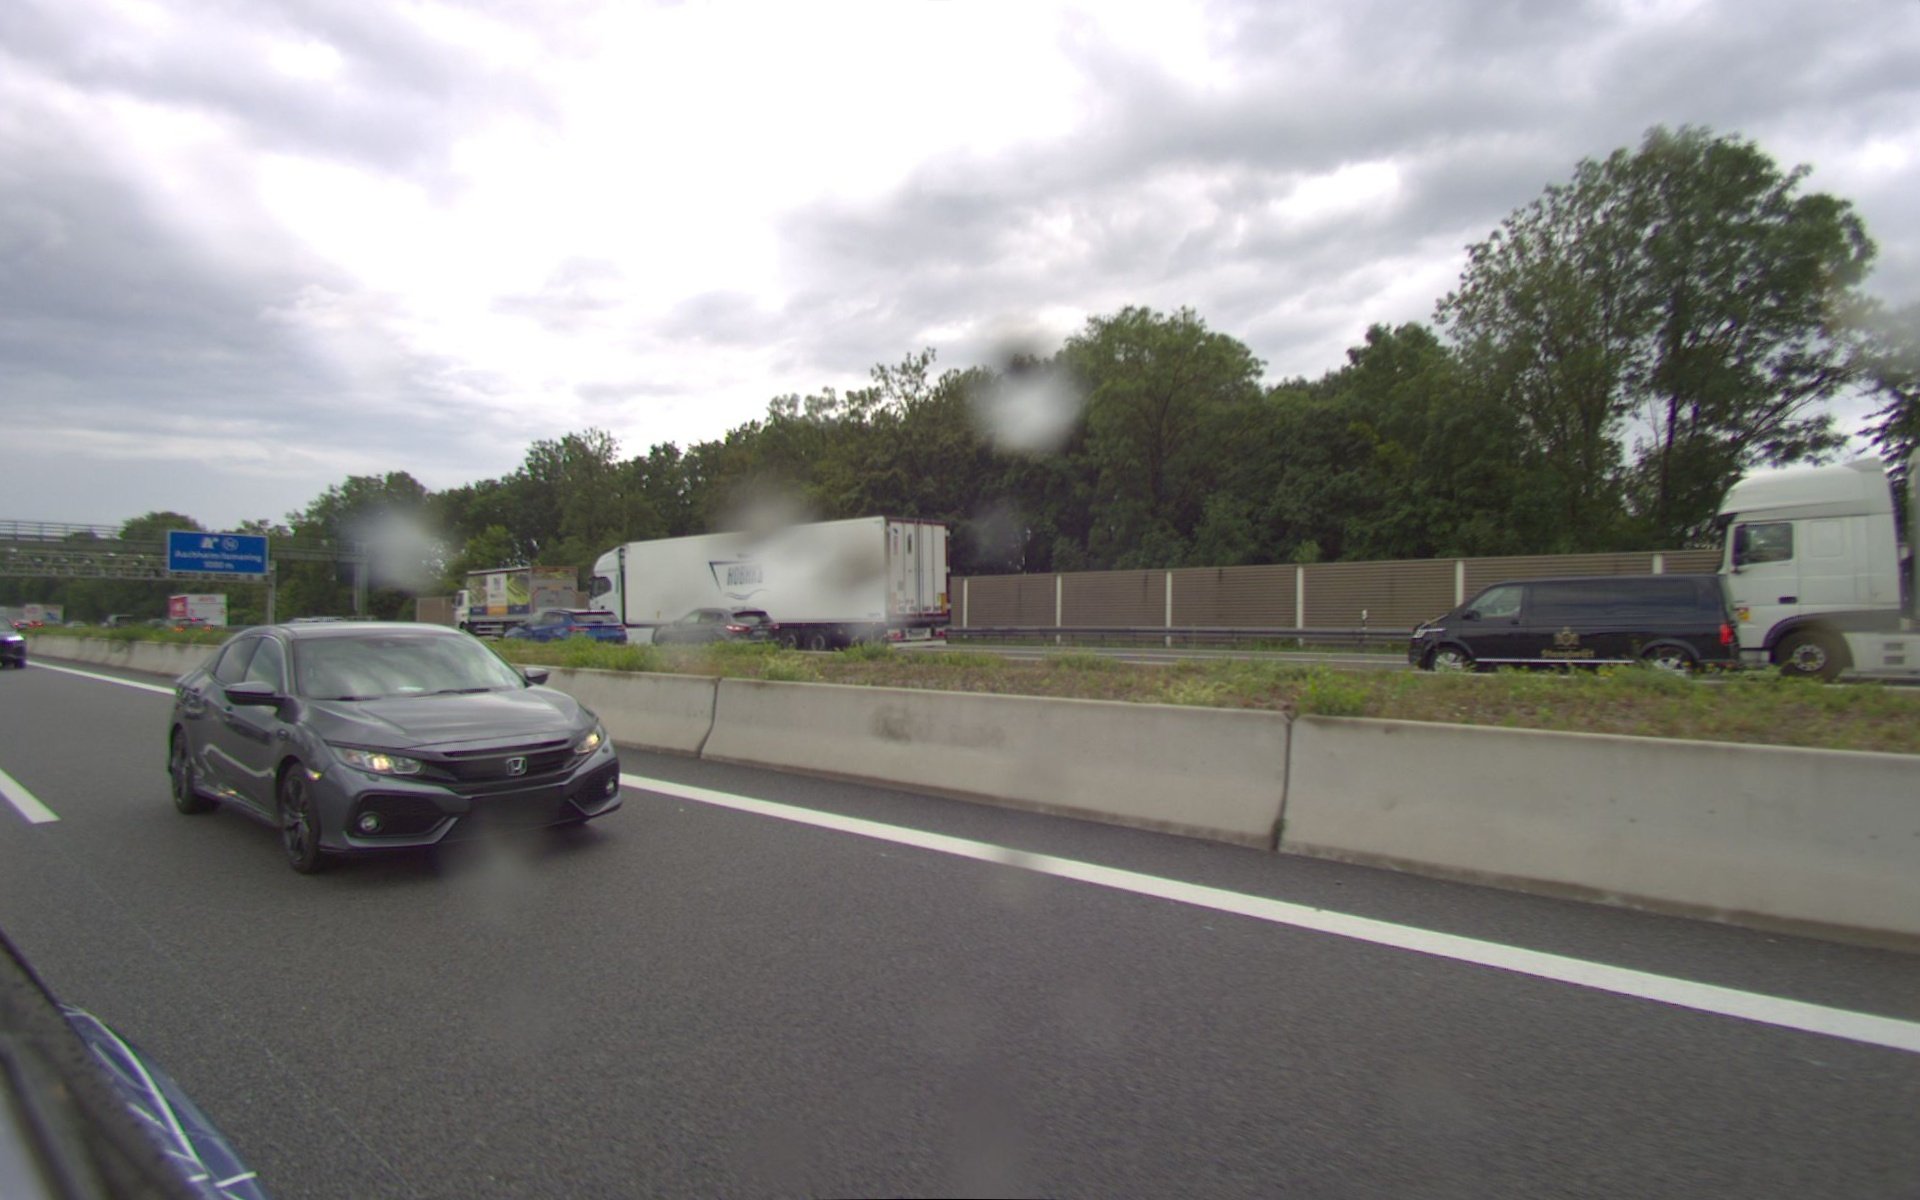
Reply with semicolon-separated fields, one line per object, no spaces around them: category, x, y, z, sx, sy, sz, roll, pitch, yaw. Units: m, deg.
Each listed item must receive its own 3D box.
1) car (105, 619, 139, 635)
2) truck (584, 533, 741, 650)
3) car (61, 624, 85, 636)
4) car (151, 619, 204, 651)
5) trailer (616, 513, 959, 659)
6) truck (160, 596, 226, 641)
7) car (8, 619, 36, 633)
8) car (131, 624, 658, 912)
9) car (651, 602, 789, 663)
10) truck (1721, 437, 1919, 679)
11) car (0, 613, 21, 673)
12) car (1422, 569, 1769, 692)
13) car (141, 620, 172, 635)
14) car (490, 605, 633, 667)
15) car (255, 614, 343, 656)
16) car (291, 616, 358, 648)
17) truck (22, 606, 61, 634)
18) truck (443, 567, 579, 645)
car;-83.570;2.675;100.886;3.998;1.548;1.973;-1;0;41
truck;-10.969;-0.269;37.063;6.000;3.915;2.697;-1;0;41
car;-122.002;4.064;139.148;3.998;1.548;1.973;-1;0;41
car;-41.129;1.805;53.179;3.546;1.548;1.572;-1;0;41
trailer;-6.212;-0.315;32.838;14.045;3.915;2.697;-1;0;41
truck;-51.651;1.219;68.084;6.246;2.849;2.305;-1;0;41
car;-109.793;3.063;118.421;3.998;1.548;1.973;-1;0;41
car;-4.344;0.878;7.293;5.057;1.379;1.742;-1;-1;41
car;-6.715;0.869;28.132;3.998;1.548;1.740;-1;0;41
truck;17.177;-0.718;17.302;6.441;3.994;2.649;-1;0;42
car;-29.476;1.243;30.184;5.170;1.704;1.887;-1;-1;44
car;11.190;0.492;18.083;5.036;1.909;1.747;-1;0;41
car;-86.623;2.929;109.066;3.998;1.548;1.973;-1;0;41
car;-10.974;0.936;27.736;4.581;1.548;1.747;-1;0;41
car;-26.725;1.372;40.887;3.998;1.548;1.973;-1;0;41
car;-33.378;1.639;53.118;4.581;1.548;1.747;-1;0;41
truck;-139.064;3.023;153.121;10.838;4.059;3.161;-1;0;41
truck;-24.491;0.337;54.889;10.003;3.863;2.770;-1;0;41
